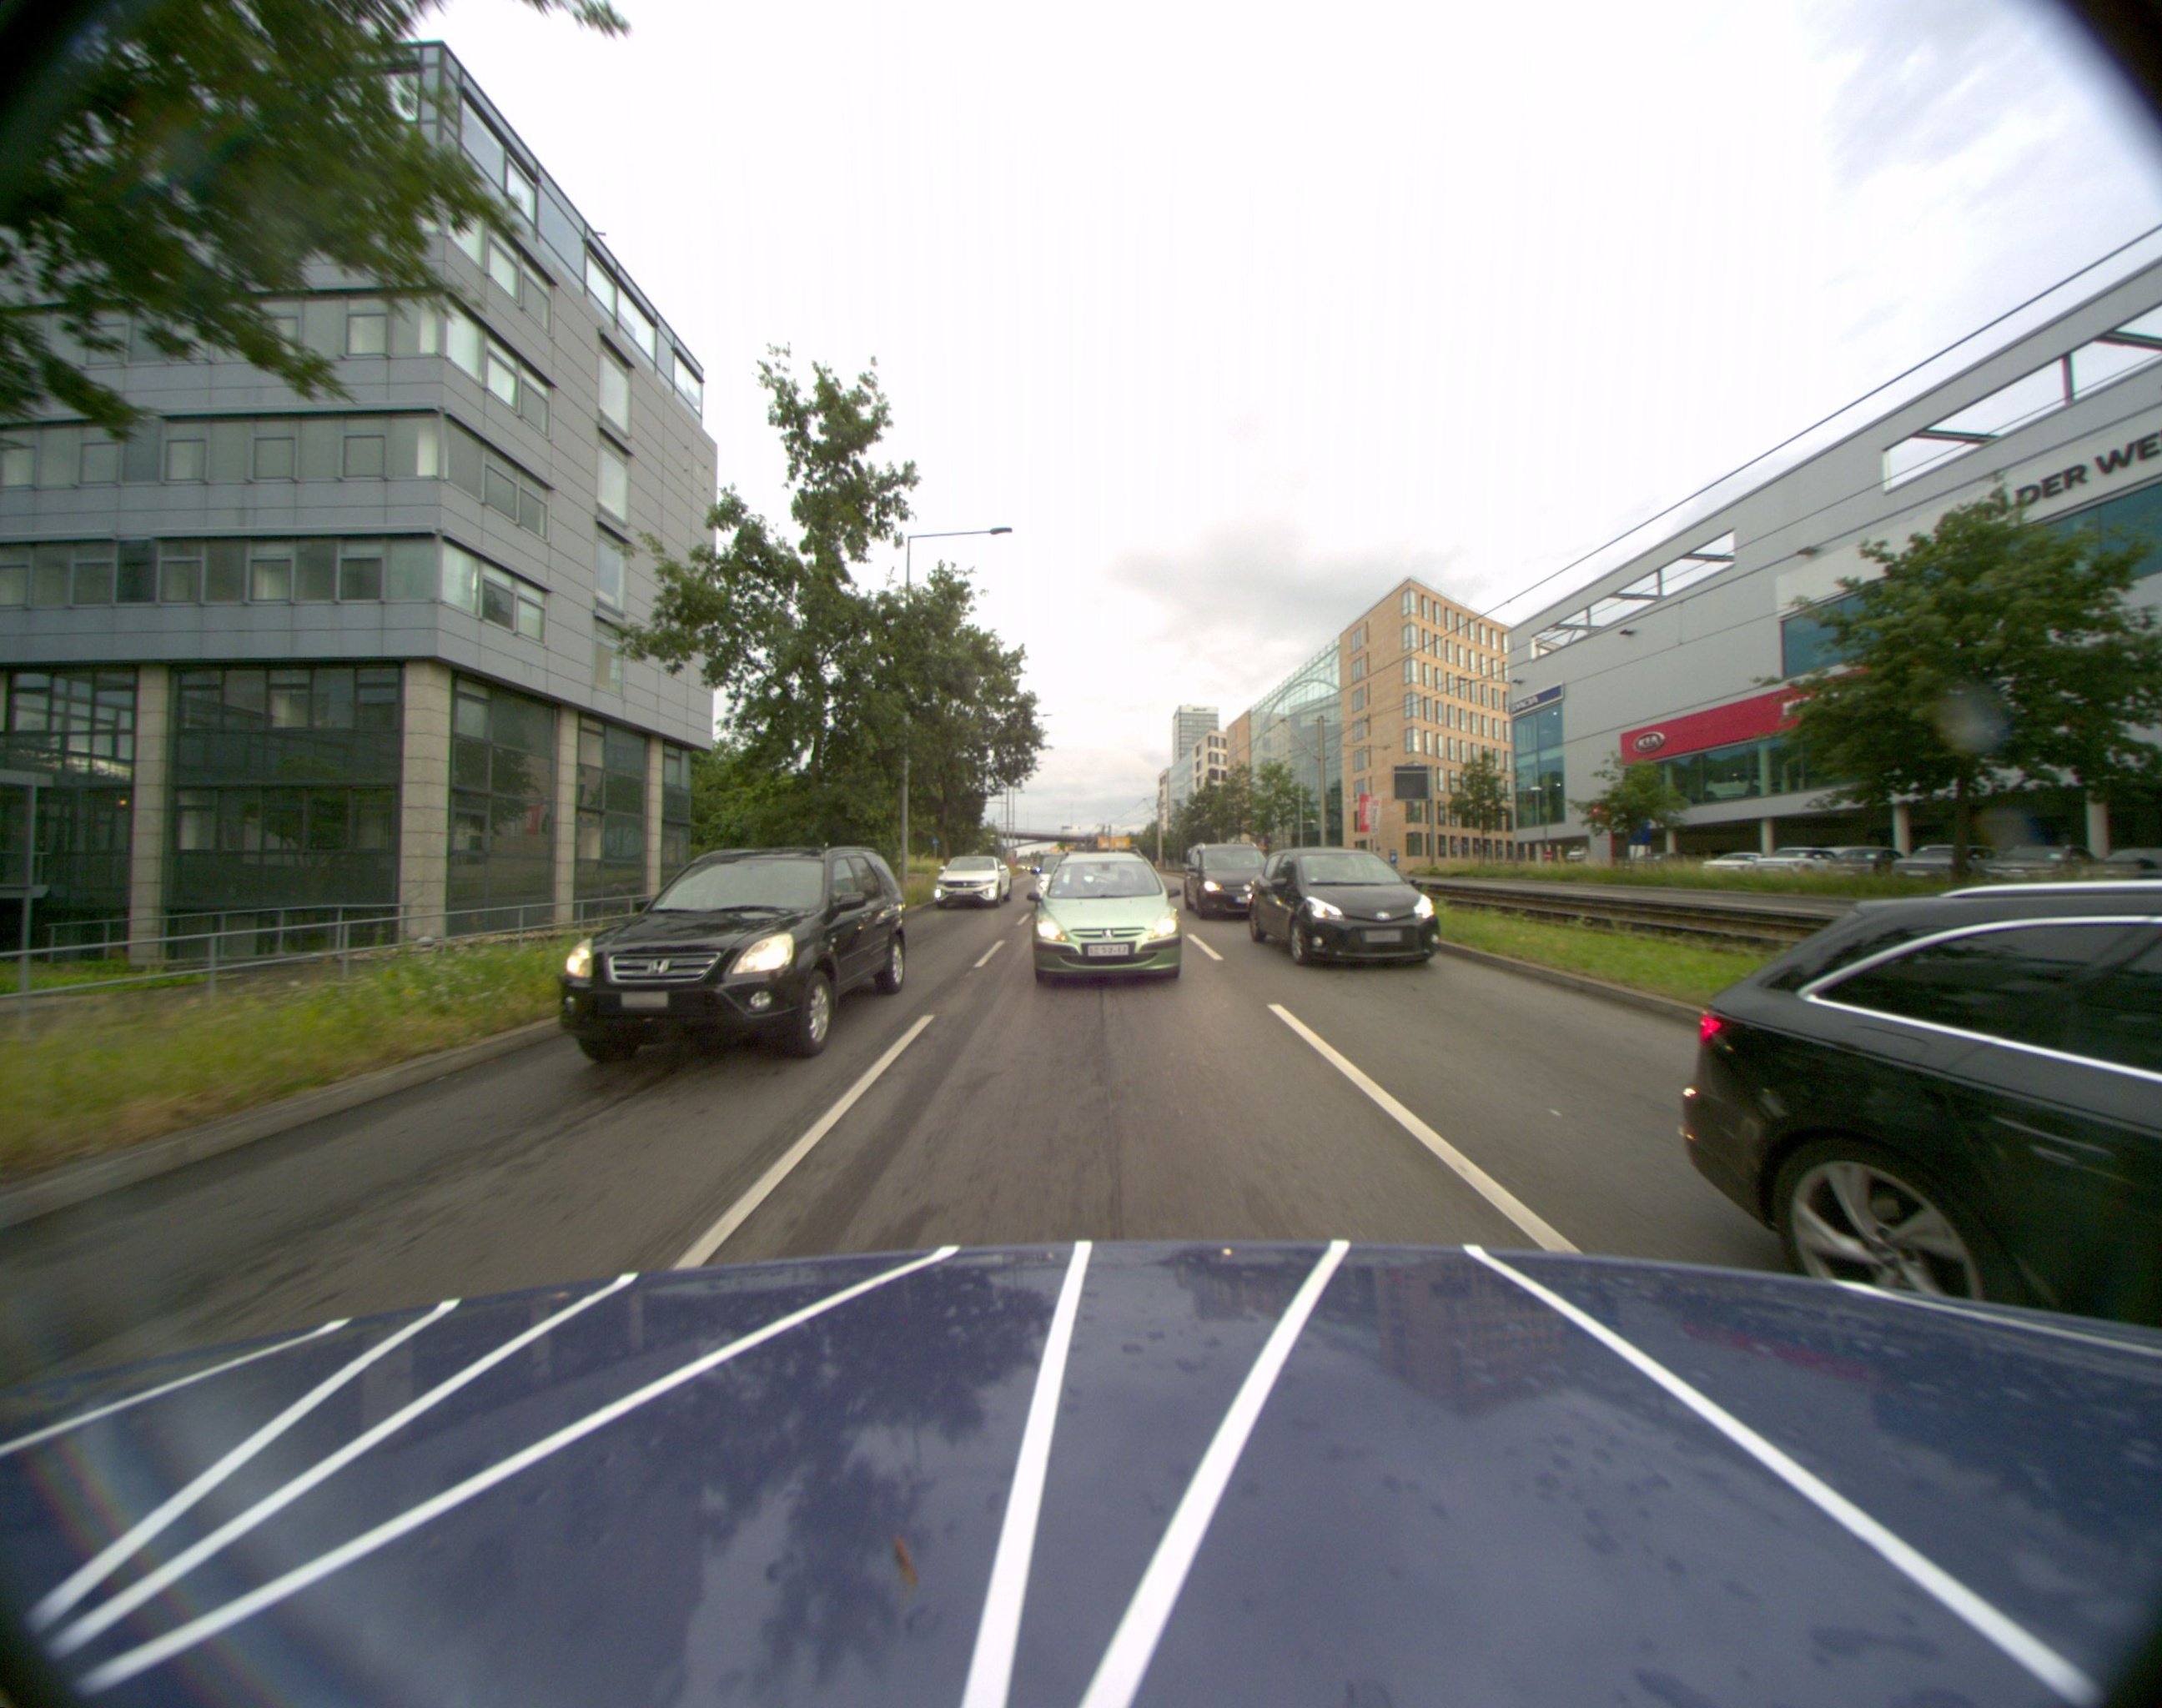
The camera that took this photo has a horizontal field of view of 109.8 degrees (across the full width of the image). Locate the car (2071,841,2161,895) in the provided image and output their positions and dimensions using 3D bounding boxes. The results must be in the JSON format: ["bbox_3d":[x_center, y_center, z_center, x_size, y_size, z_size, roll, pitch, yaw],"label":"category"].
[{"bbox_3d":[32.173,0.388,22.771,3.845,1.482,1.821,-1,0,-17],"label":"car"}]

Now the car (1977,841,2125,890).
[{"bbox_3d":[32.347,0.363,25.360,3.845,1.482,1.821,-1,0,-17],"label":"car"}]

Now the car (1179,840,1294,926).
[{"bbox_3d":[3.387,0.580,17.301,1.781,1.670,4.131,-1,0,1],"label":"car"}]

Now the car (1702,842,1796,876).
[{"bbox_3d":[31.836,0.212,36.235,3.846,1.482,1.820,-1,0,-22],"label":"car"}]

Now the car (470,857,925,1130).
[{"bbox_3d":[-2.878,0.889,7.049,1.816,1.660,4.549,-1,0,1],"label":"car"}]

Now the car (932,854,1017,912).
[{"bbox_3d":[-3.091,0.787,22.801,1.873,1.533,4.107,-1,0,1],"label":"car"}]

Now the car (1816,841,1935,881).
[{"bbox_3d":[32.293,0.259,30.886,3.845,1.482,1.821,-1,0,-17],"label":"car"}]

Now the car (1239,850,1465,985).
[{"bbox_3d":[3.510,0.728,10.666,1.798,1.493,4.000,-1,0,1],"label":"car"}]

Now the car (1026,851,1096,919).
[{"bbox_3d":[-0.436,0.727,19.635,1.598,1.533,3.707,-1,0,1],"label":"car"}]

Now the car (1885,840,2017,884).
[{"bbox_3d":[32.254,0.283,28.200,3.845,1.482,1.821,-1,0,-17],"label":"car"}]

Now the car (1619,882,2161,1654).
[{"bbox_3d":[3.001,0.844,0.579,1.794,1.426,4.828,-1,0,1],"label":"car"}]

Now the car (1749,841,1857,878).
[{"bbox_3d":[31.941,0.234,33.641,3.845,1.482,1.821,-1,0,-17],"label":"car"}]

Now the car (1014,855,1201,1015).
[{"bbox_3d":[0.293,0.802,9.687,1.803,1.533,4.374,-1,0,1],"label":"car"}]
